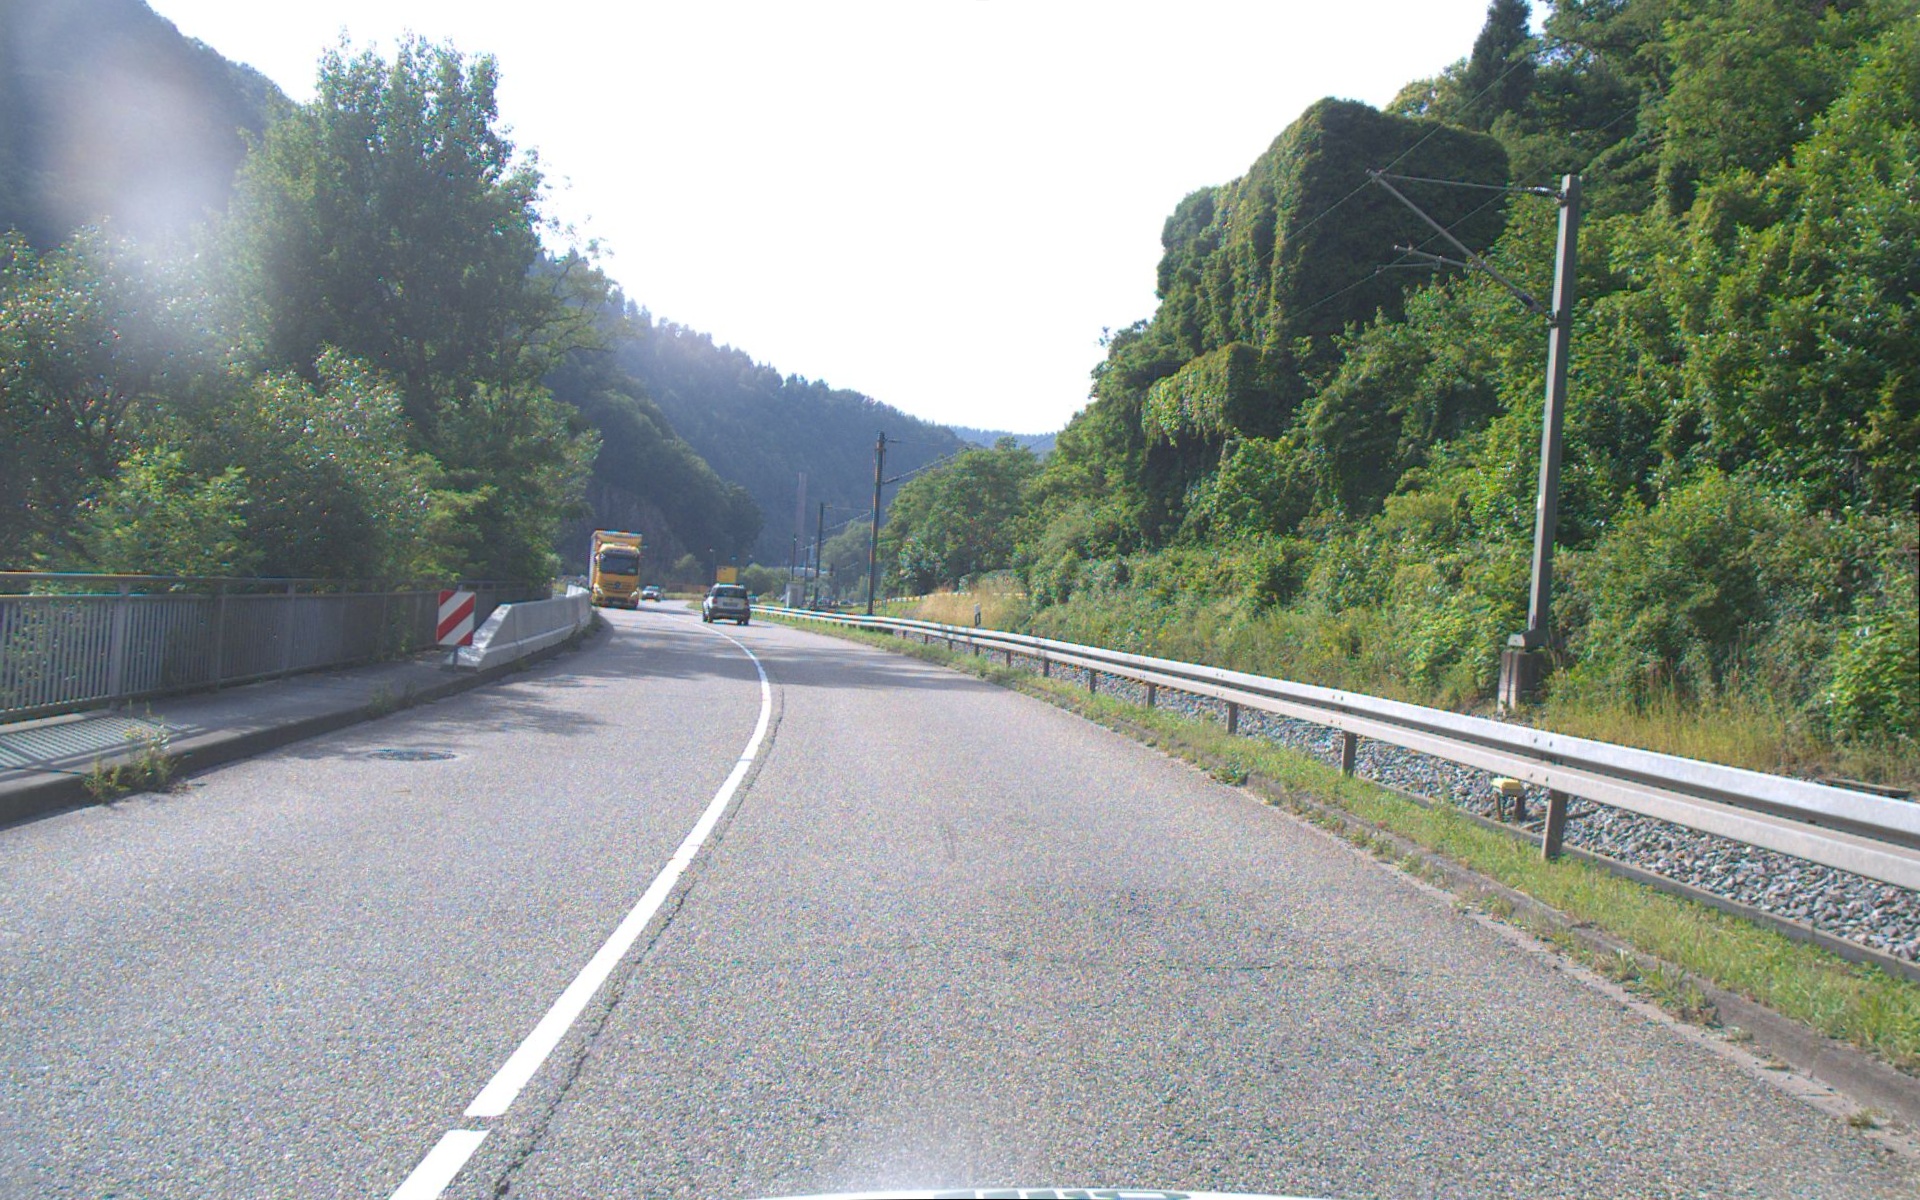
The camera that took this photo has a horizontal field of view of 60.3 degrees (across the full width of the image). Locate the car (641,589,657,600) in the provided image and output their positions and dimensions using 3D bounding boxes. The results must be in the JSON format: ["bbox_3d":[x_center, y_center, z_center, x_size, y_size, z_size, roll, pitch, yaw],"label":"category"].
[{"bbox_3d":[-35.922,-0.646,191.195,1.444,1.103,3.270,5,0,-5],"label":"car"}]

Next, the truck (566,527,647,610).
[{"bbox_3d":[-20.604,-1.717,95.792,3.317,4.460,12.643,1,0,-18],"label":"truck"}]

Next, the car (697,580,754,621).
[{"bbox_3d":[-10.160,0.025,71.448,1.842,1.685,3.982,2,0,-16],"label":"car"}]
